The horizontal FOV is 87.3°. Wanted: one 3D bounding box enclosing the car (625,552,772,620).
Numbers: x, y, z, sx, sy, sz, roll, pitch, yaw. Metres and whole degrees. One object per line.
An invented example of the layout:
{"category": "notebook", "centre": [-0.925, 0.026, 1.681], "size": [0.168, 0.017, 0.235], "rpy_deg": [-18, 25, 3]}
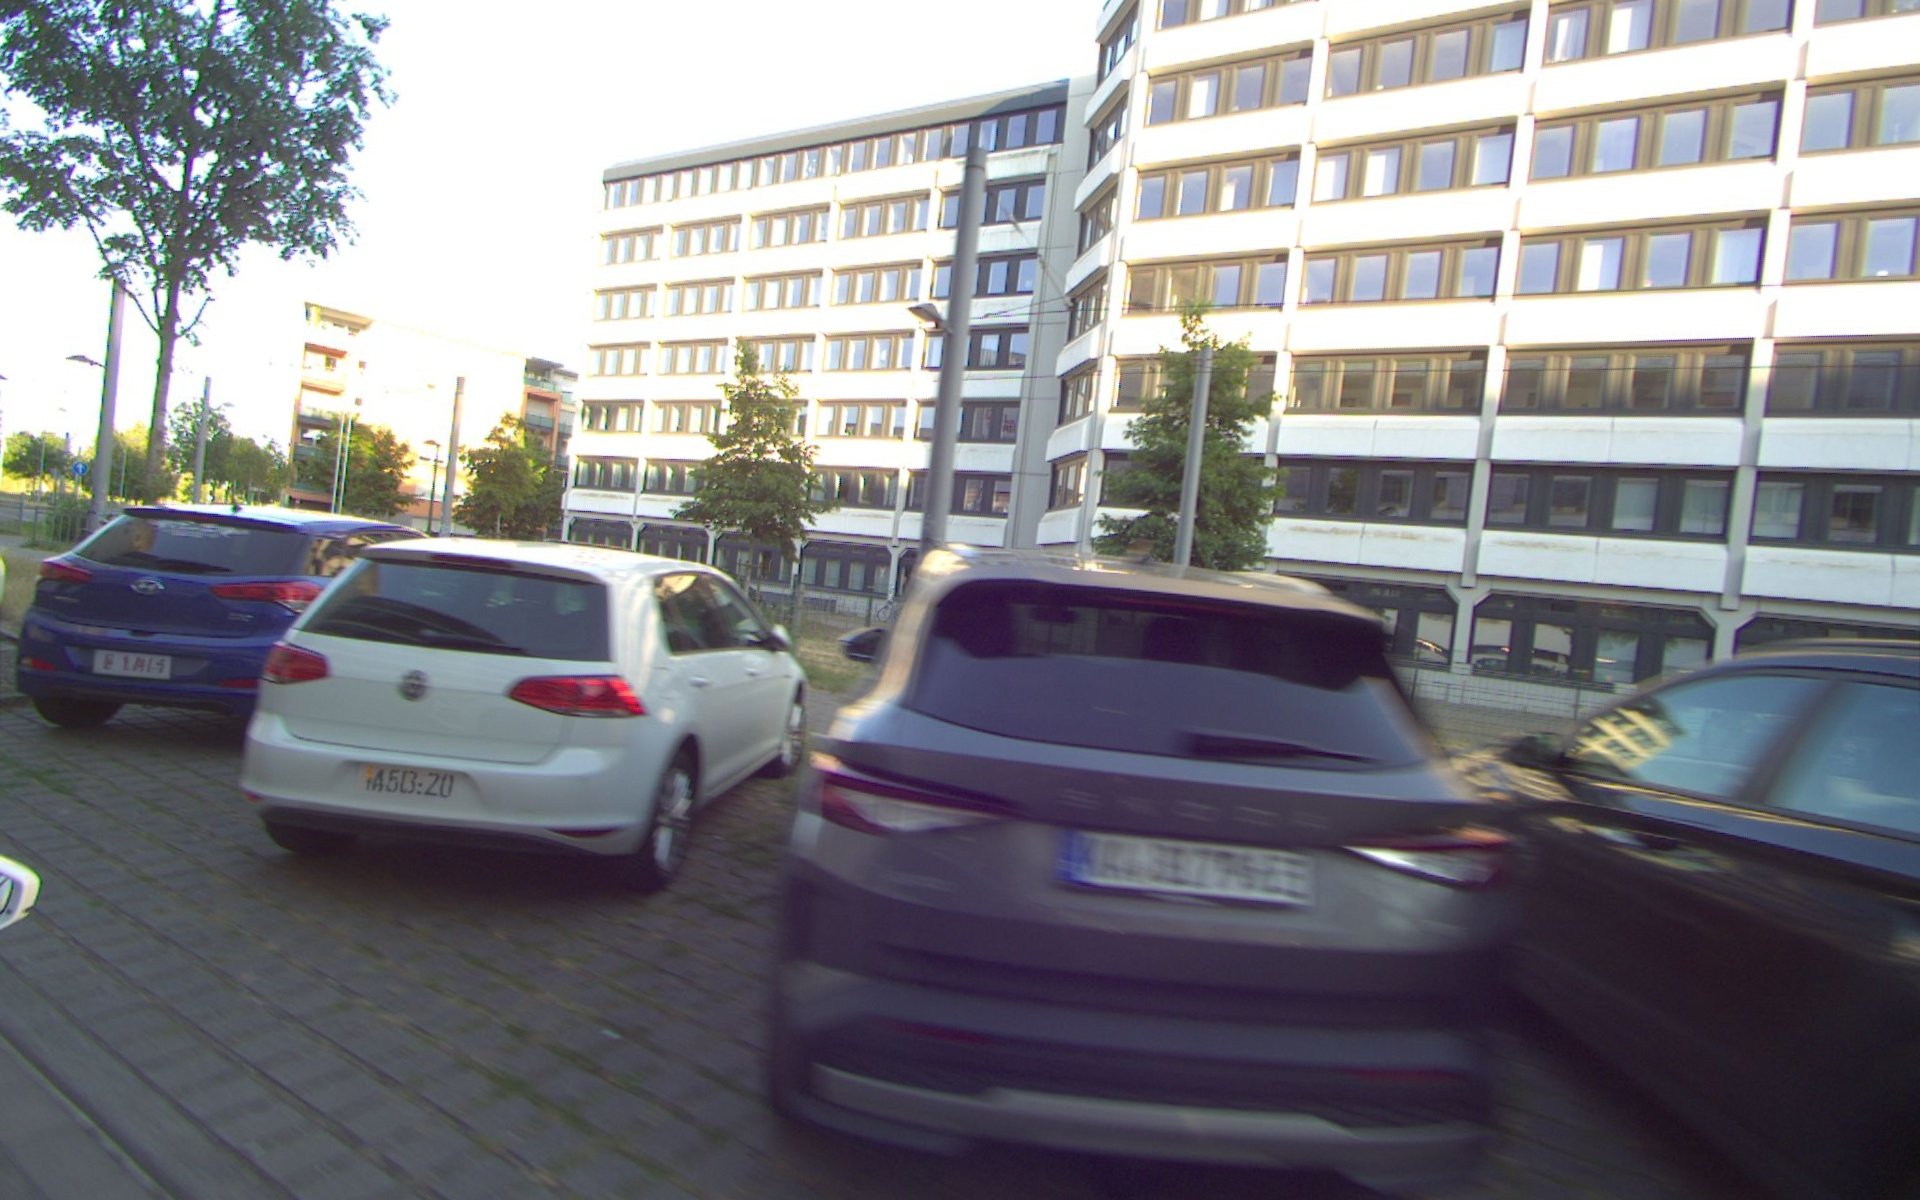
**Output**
{"category": "car", "centre": [-8.137, -0.397, 31.756], "size": [1.665, 1.622, 4.501], "rpy_deg": [7, 0, 31]}

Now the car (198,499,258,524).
{"category": "car", "centre": [-65.659, -7.931, 90.304], "size": [4.127, 1.595, 1.688], "rpy_deg": [7, 0, -34]}

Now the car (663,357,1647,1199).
{"category": "car", "centre": [0.346, 0.559, 3.862], "size": [1.731, 1.746, 3.779], "rpy_deg": [8, -1, -1]}

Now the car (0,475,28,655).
{"category": "car", "centre": [-9.732, -0.510, 8.865], "size": [3.501, 1.486, 1.720], "rpy_deg": [8, 1, 39]}

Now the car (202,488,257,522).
{"category": "car", "centre": [-72.100, -9.364, 99.308], "size": [4.131, 2.616, 1.686], "rpy_deg": [7, 1, -37]}

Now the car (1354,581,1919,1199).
{"category": "car", "centre": [2.835, 0.878, 2.855], "size": [1.936, 1.661, 3.985], "rpy_deg": [6, 1, 4]}

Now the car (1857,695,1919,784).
{"category": "car", "centre": [16.487, 2.413, 16.576], "size": [1.565, 1.414, 3.998], "rpy_deg": [8, -2, 30]}

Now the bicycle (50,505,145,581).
{"category": "bicycle", "centre": [-14.599, -0.975, 17.020], "size": [1.663, 1.096, 0.763], "rpy_deg": [7, 1, 35]}

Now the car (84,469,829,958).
{"category": "car", "centre": [-2.072, 0.367, 5.544], "size": [1.920, 1.529, 3.930], "rpy_deg": [7, 2, 2]}

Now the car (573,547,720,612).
{"category": "car", "centre": [-10.181, -0.625, 33.010], "size": [1.665, 1.622, 4.501], "rpy_deg": [7, 0, 31]}

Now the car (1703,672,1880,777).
{"category": "car", "centre": [14.549, 2.186, 17.830], "size": [1.565, 1.414, 3.998], "rpy_deg": [8, -2, 30]}

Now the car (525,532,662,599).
{"category": "car", "centre": [-13.750, -1.260, 38.025], "size": [1.900, 1.960, 4.500], "rpy_deg": [7, 0, 32]}

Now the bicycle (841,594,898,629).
{"category": "bicycle", "centre": [-4.065, 0.501, 44.965], "size": [2.391, 1.214, 0.830], "rpy_deg": [8, -2, 32]}

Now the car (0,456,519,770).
{"category": "car", "centre": [-4.823, 0.094, 7.461], "size": [1.659, 1.527, 3.751], "rpy_deg": [8, -1, -7]}
